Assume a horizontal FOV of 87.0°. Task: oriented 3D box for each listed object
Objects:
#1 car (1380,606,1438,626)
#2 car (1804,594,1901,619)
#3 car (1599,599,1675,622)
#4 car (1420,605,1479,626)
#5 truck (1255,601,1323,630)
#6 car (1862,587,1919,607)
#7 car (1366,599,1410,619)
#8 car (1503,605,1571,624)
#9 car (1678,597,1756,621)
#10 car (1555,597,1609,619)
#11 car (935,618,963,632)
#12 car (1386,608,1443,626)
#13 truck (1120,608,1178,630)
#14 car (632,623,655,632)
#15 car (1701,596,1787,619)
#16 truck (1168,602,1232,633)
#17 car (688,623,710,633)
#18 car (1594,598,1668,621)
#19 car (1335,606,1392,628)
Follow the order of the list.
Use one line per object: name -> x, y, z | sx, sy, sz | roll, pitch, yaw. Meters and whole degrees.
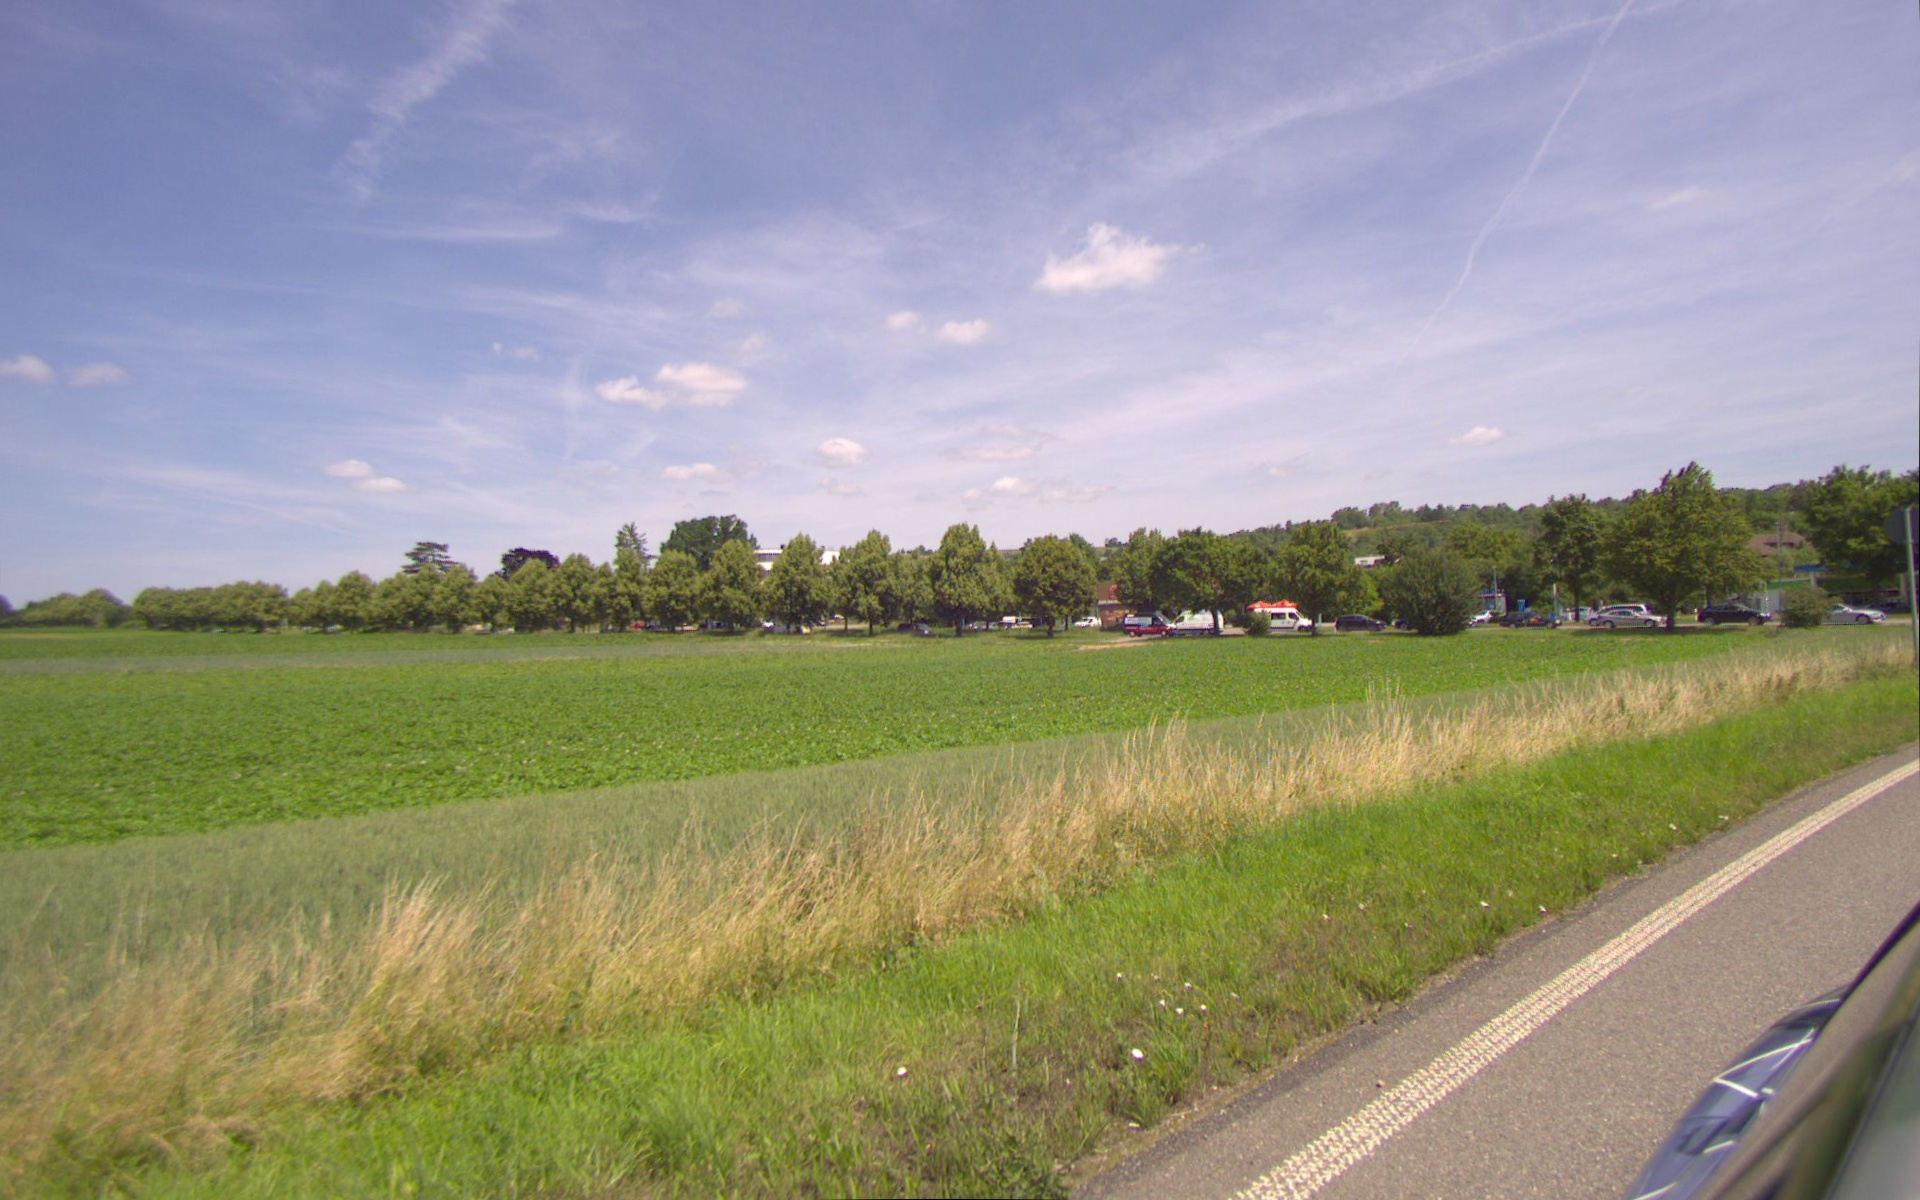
car -> 41.577, 1.466, 93.732 | 4.507, 1.713, 1.840 | -2, 0, 42
car -> 59.599, 0.440, 67.639 | 1.768, 1.529, 4.559 | -2, 0, -36
car -> 51.432, 0.807, 76.919 | 4.545, 1.529, 1.773 | -3, 0, 44
car -> 41.347, 1.334, 85.540 | 4.205, 1.529, 1.778 | -3, 0, 36
truck -> 30.563, 1.474, 94.145 | 5.594, 2.396, 2.030 | -3, 0, 32
car -> 77.137, -0.254, 83.014 | 4.272, 1.380, 1.746 | -3, 0, 24
car -> 43.676, 0.887, 103.264 | 3.957, 1.847, 1.807 | -3, 0, 25
car -> 46.600, 1.191, 81.739 | 4.536, 1.289, 1.776 | -3, 0, 38
car -> 58.621, 0.730, 78.408 | 1.836, 1.713, 4.515 | -3, 0, -43
car -> 58.015, 0.750, 94.442 | 3.981, 1.847, 1.796 | -3, 0, 41
car -> -1.585, 3.657, 148.831 | 3.981, 1.847, 1.709 | -3, 0, 40
car -> 40.744, 1.508, 90.763 | 4.370, 1.579, 1.757 | -2, -2, 42
truck -> 18.941, 1.924, 101.514 | 5.434, 2.000, 1.780 | -3, -1, 33
car -> -61.243, 5.276, 195.879 | 4.789, 1.611, 1.845 | -3, 0, 40
car -> 55.943, 0.534, 72.239 | 1.769, 1.529, 4.556 | -1, 0, -39
truck -> 24.615, 1.805, 103.901 | 5.903, 2.770, 2.048 | -4, 1, 35
car -> -47.288, 5.029, 183.350 | 3.981, 1.650, 1.719 | -3, 0, 40
car -> 53.158, 0.766, 80.280 | 1.834, 1.713, 4.521 | -3, 0, -39
car -> 35.908, 1.493, 90.020 | 4.268, 1.719, 1.973 | -3, 0, 39
